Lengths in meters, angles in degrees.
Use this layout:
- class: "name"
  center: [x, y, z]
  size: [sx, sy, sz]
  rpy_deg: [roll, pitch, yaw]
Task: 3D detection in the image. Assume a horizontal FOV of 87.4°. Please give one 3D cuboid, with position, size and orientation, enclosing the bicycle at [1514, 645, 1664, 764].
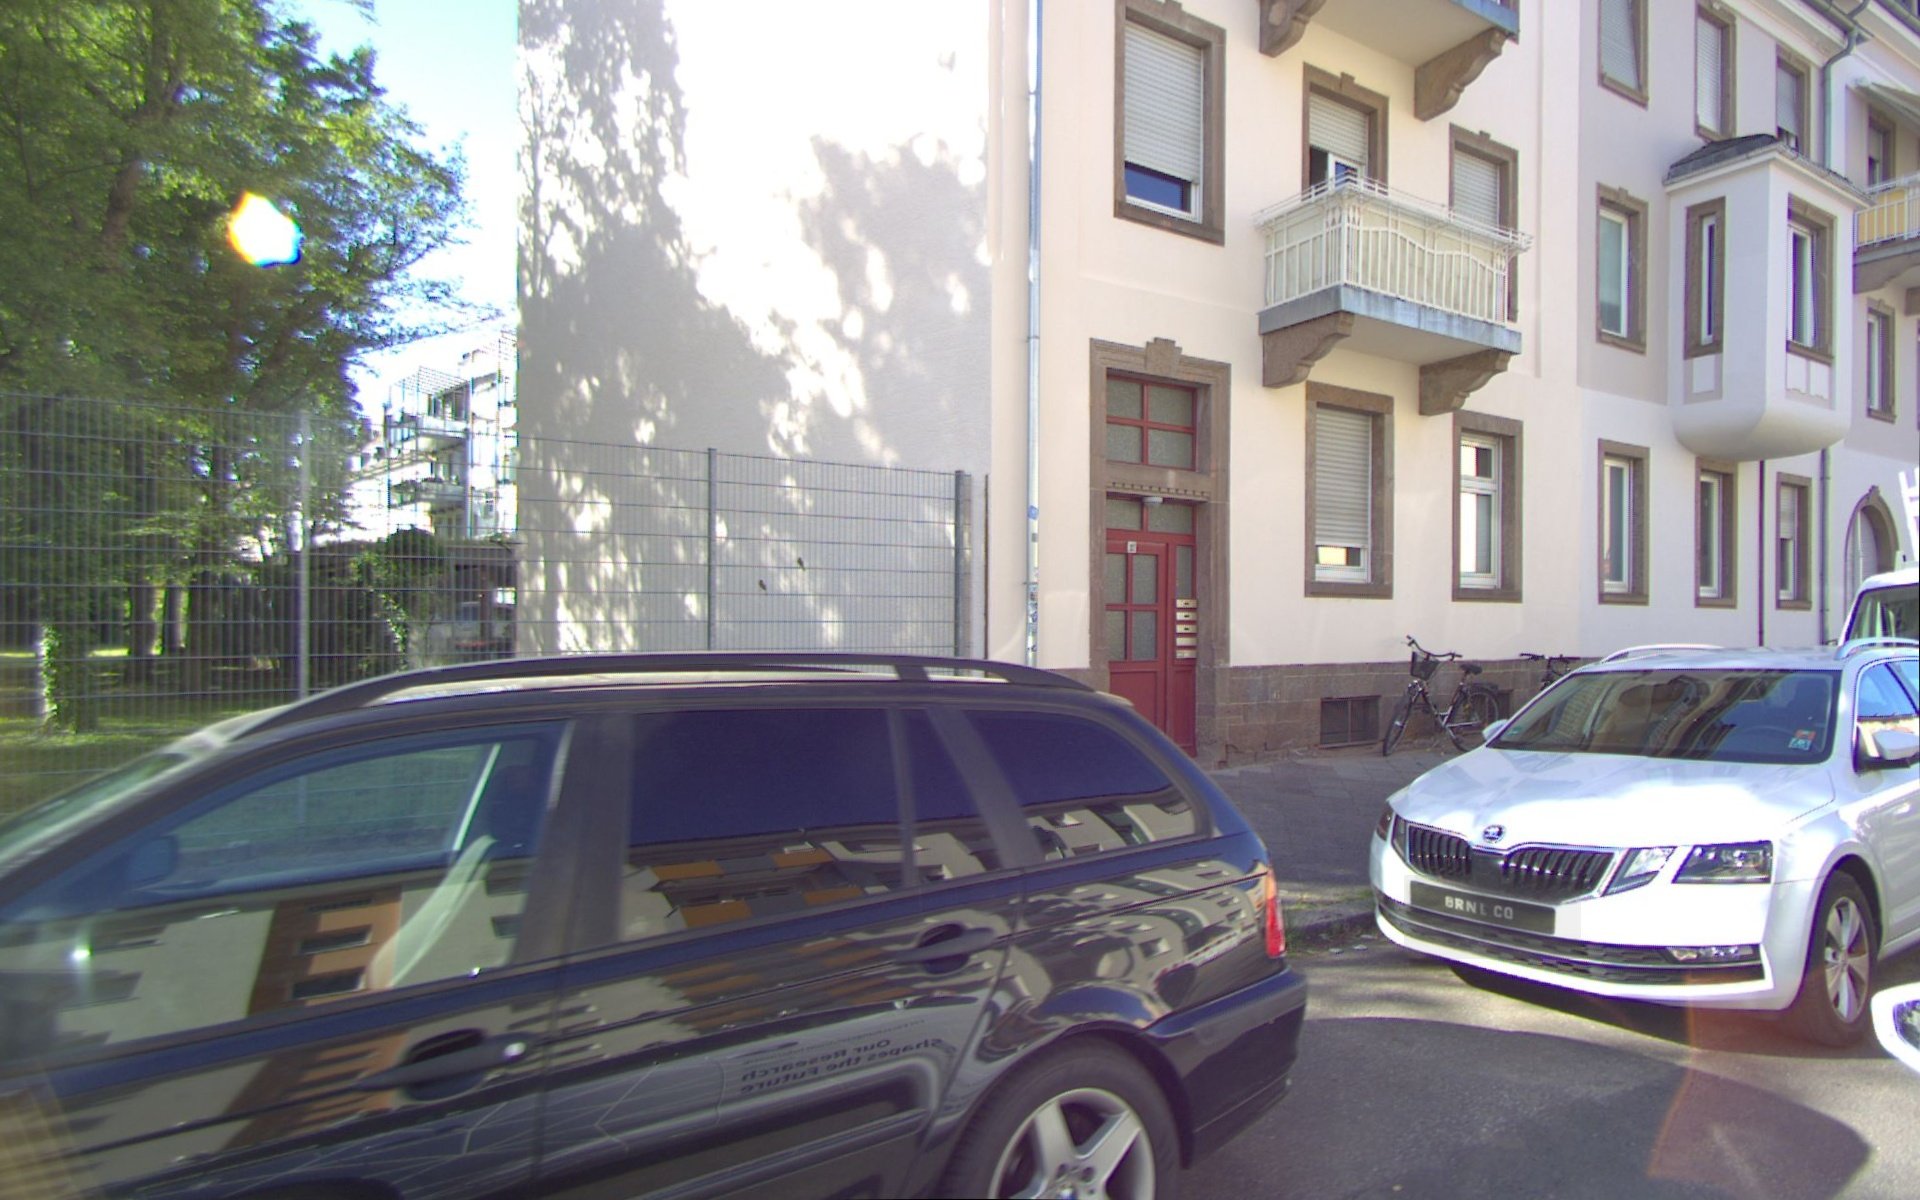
- class: "bicycle"
  center: [7.725, 1.230, 12.297]
  size: [2.313, 1.296, 0.566]
  rpy_deg: [0, 0, -31]

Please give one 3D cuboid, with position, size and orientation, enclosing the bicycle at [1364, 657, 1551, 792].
- class: "bicycle"
  center: [5.318, 1.265, 10.682]
  size: [2.313, 1.220, 0.626]
  rpy_deg: [0, 0, -31]

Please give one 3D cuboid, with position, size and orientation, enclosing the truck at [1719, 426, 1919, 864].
- class: "truck"
  center: [9.751, 0.364, 8.819]
  size: [7.193, 3.023, 2.249]
  rpy_deg: [1, -6, -32]

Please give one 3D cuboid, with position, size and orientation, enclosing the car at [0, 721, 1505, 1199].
- class: "car"
  center: [-1.051, 1.164, 2.071]
  size: [4.406, 1.582, 1.785]
  rpy_deg: [1, -5, -30]

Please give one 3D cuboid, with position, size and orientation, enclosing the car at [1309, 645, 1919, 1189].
- class: "car"
  center: [4.037, 1.071, 5.052]
  size: [4.590, 1.560, 1.783]
  rpy_deg: [0, -6, -33]
